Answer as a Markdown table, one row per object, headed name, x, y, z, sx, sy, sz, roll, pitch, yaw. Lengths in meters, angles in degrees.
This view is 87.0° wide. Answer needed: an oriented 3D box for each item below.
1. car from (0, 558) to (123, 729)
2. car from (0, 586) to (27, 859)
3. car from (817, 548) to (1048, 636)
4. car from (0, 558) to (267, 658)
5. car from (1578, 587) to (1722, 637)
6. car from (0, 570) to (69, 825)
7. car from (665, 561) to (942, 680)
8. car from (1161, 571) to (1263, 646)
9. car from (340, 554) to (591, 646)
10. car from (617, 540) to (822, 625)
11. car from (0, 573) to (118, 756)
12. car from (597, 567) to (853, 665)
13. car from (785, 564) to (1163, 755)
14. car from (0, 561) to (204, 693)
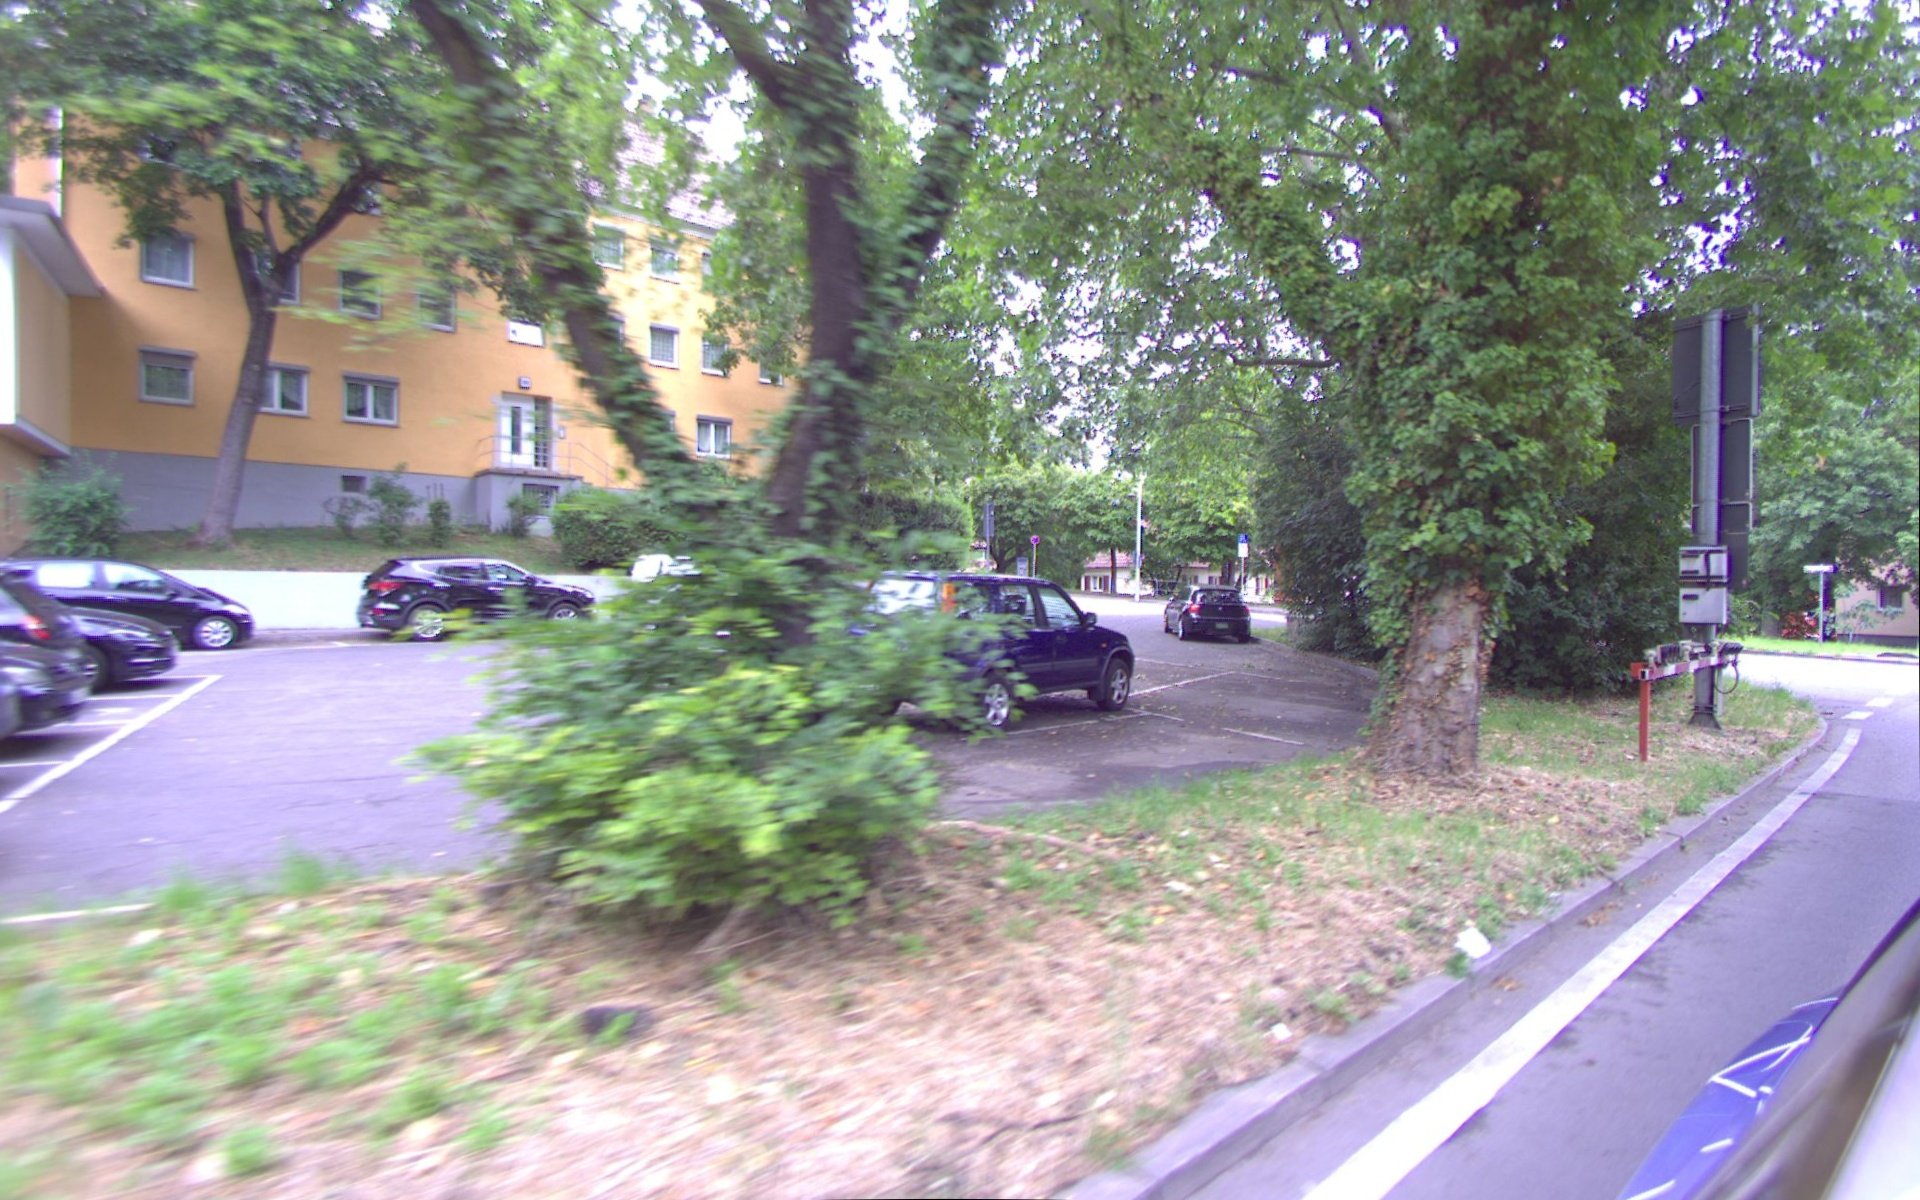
| name | x | y | z | sx | sy | sz | roll | pitch | yaw |
| --- | --- | --- | --- | --- | --- | --- | --- | --- | --- |
| car | -10.879 | 0.371 | 9.543 | 4.316 | 1.614 | 1.793 | 1 | 1 | -29 |
| car | -7.023 | 0.655 | 3.759 | 4.964 | 1.460 | 1.792 | 1 | 1 | -33 |
| car | -0.445 | -0.175 | 21.006 | 1.993 | 1.598 | 4.828 | 3 | 2 | 43 |
| car | -14.049 | 0.098 | 17.128 | 3.608 | 1.523 | 1.652 | 0 | 2 | -45 |
| car | 24.543 | 0.412 | 36.136 | 4.105 | 1.446 | 1.839 | 4 | 0 | 35 |
| car | -8.335 | 0.574 | 5.872 | 4.504 | 1.577 | 1.792 | 1 | 1 | -33 |
| car | -2.367 | 0.247 | 15.968 | 4.063 | 1.588 | 1.734 | -1 | 3 | -45 |
| car | 6.590 | 0.136 | 26.904 | 1.830 | 1.502 | 4.424 | 4 | 4 | 5 |
| car | -10.104 | -0.073 | 20.851 | 4.283 | 1.693 | 1.997 | -1 | 3 | -41 |
| car | -5.863 | -0.466 | 24.927 | 4.518 | 1.909 | 1.998 | -1 | 3 | -40 |
| car | -9.401 | 0.472 | 7.609 | 4.504 | 1.396 | 1.792 | 1 | 1 | -33 |
| car | -3.964 | 0.199 | 17.576 | 1.732 | 1.445 | 4.068 | 4 | 3 | 42 |
| car | 0.404 | 0.465 | 11.621 | 1.805 | 1.685 | 4.819 | 3 | 3 | 38 |
| car | -11.600 | 0.269 | 11.733 | 4.316 | 1.464 | 1.793 | 1 | 1 | -29 |
